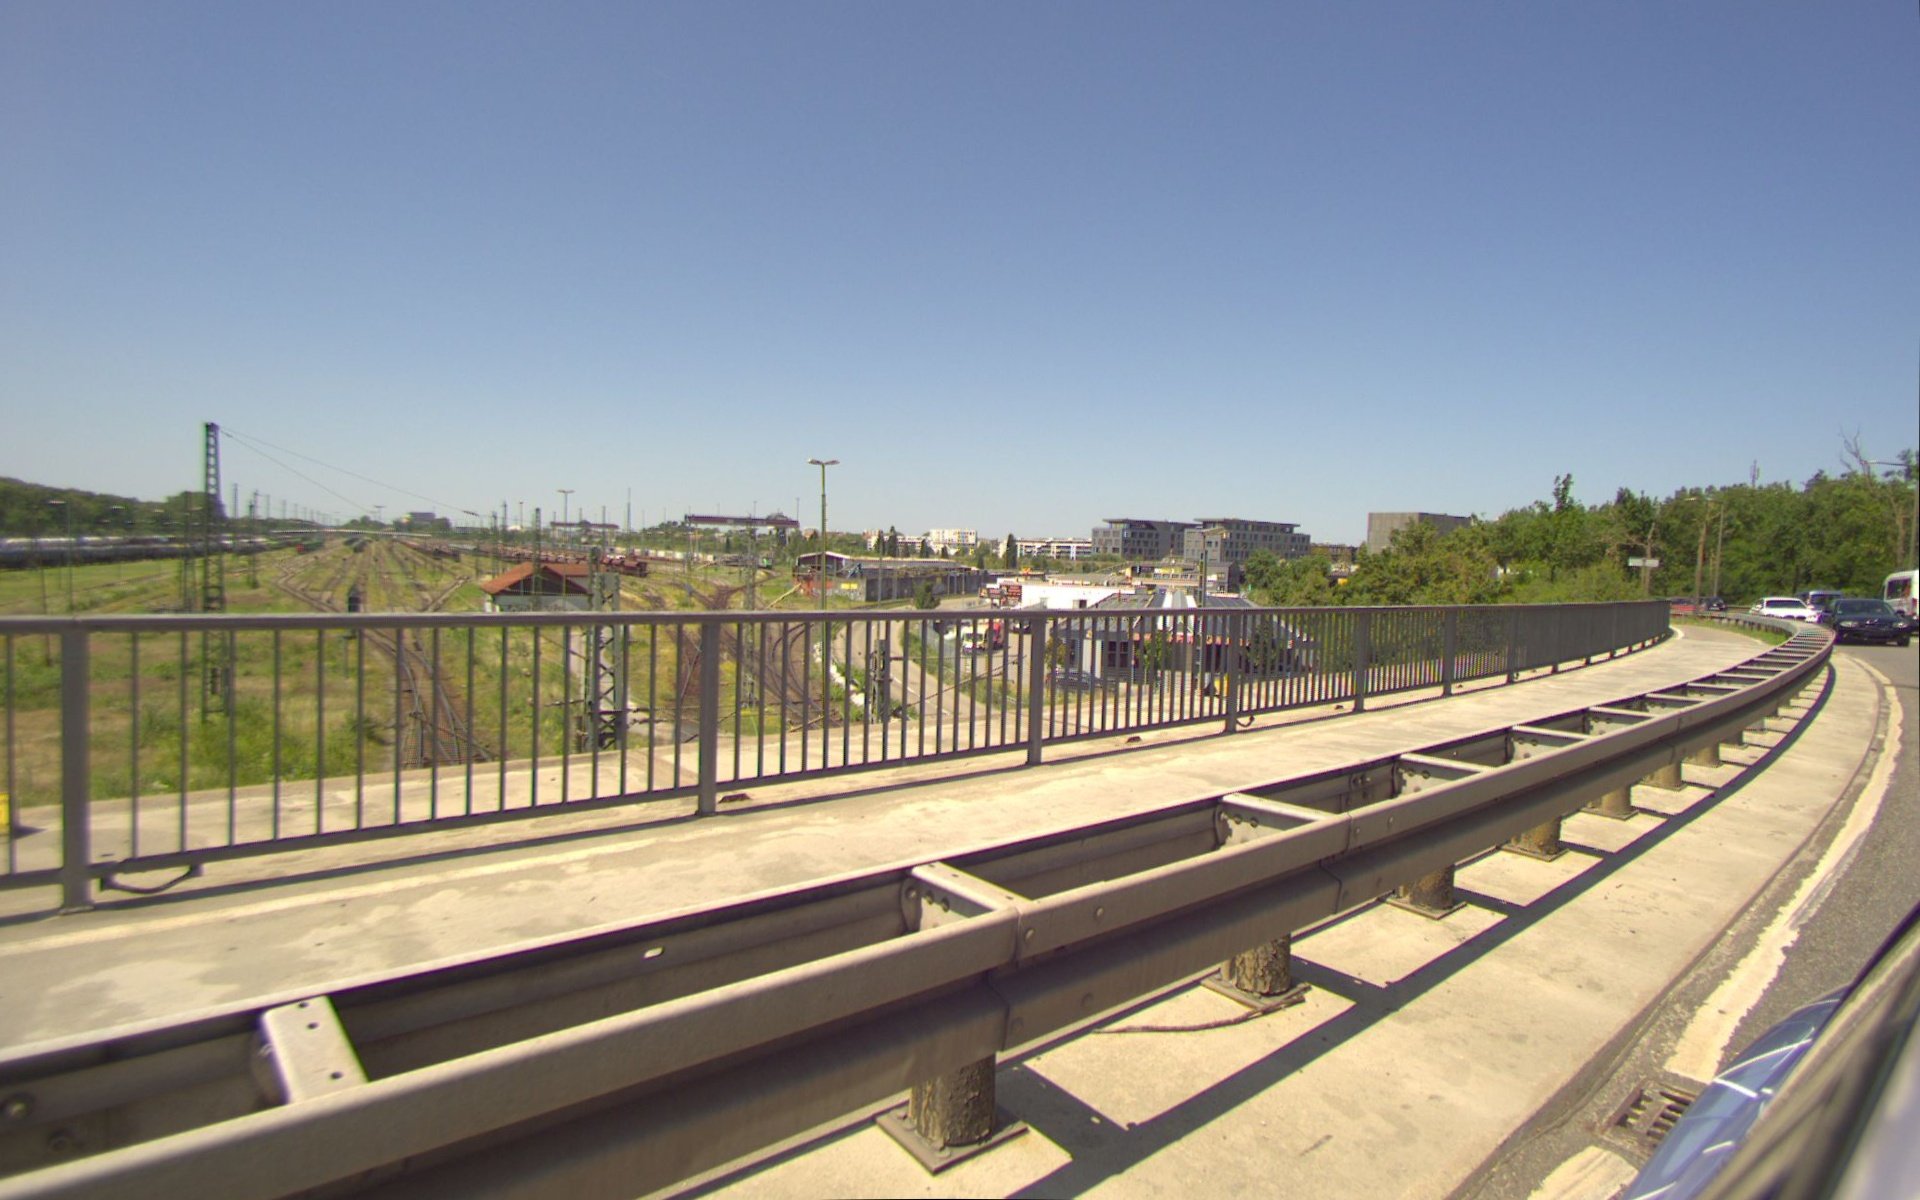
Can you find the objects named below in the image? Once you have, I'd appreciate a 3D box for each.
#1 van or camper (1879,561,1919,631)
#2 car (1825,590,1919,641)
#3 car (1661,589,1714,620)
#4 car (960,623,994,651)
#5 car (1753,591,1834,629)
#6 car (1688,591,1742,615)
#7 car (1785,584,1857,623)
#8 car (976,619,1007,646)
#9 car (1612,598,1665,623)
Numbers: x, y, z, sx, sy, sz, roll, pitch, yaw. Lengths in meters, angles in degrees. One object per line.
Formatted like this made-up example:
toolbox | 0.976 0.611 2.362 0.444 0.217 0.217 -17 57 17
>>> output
van or camper | 37.364 -0.166 38.736 2.038 2.570 5.819 -1 0 31
car | 27.855 0.425 30.853 1.557 1.434 4.078 0 1 30
car | 43.603 0.247 60.740 1.883 1.675 4.220 1 2 27
car | 1.594 3.400 93.719 2.120 2.382 4.909 -4 -1 13
car | 34.266 0.377 41.692 1.800 1.446 3.680 0 1 27
car | 49.109 0.156 65.925 1.742 1.460 4.534 0 1 22
car | 44.037 0.127 51.865 1.744 1.878 4.238 0 1 26
car | 3.165 3.225 100.476 2.120 2.382 4.910 -4 -1 12
car | 52.087 0.848 77.751 1.695 1.446 4.090 -9 -6 11
